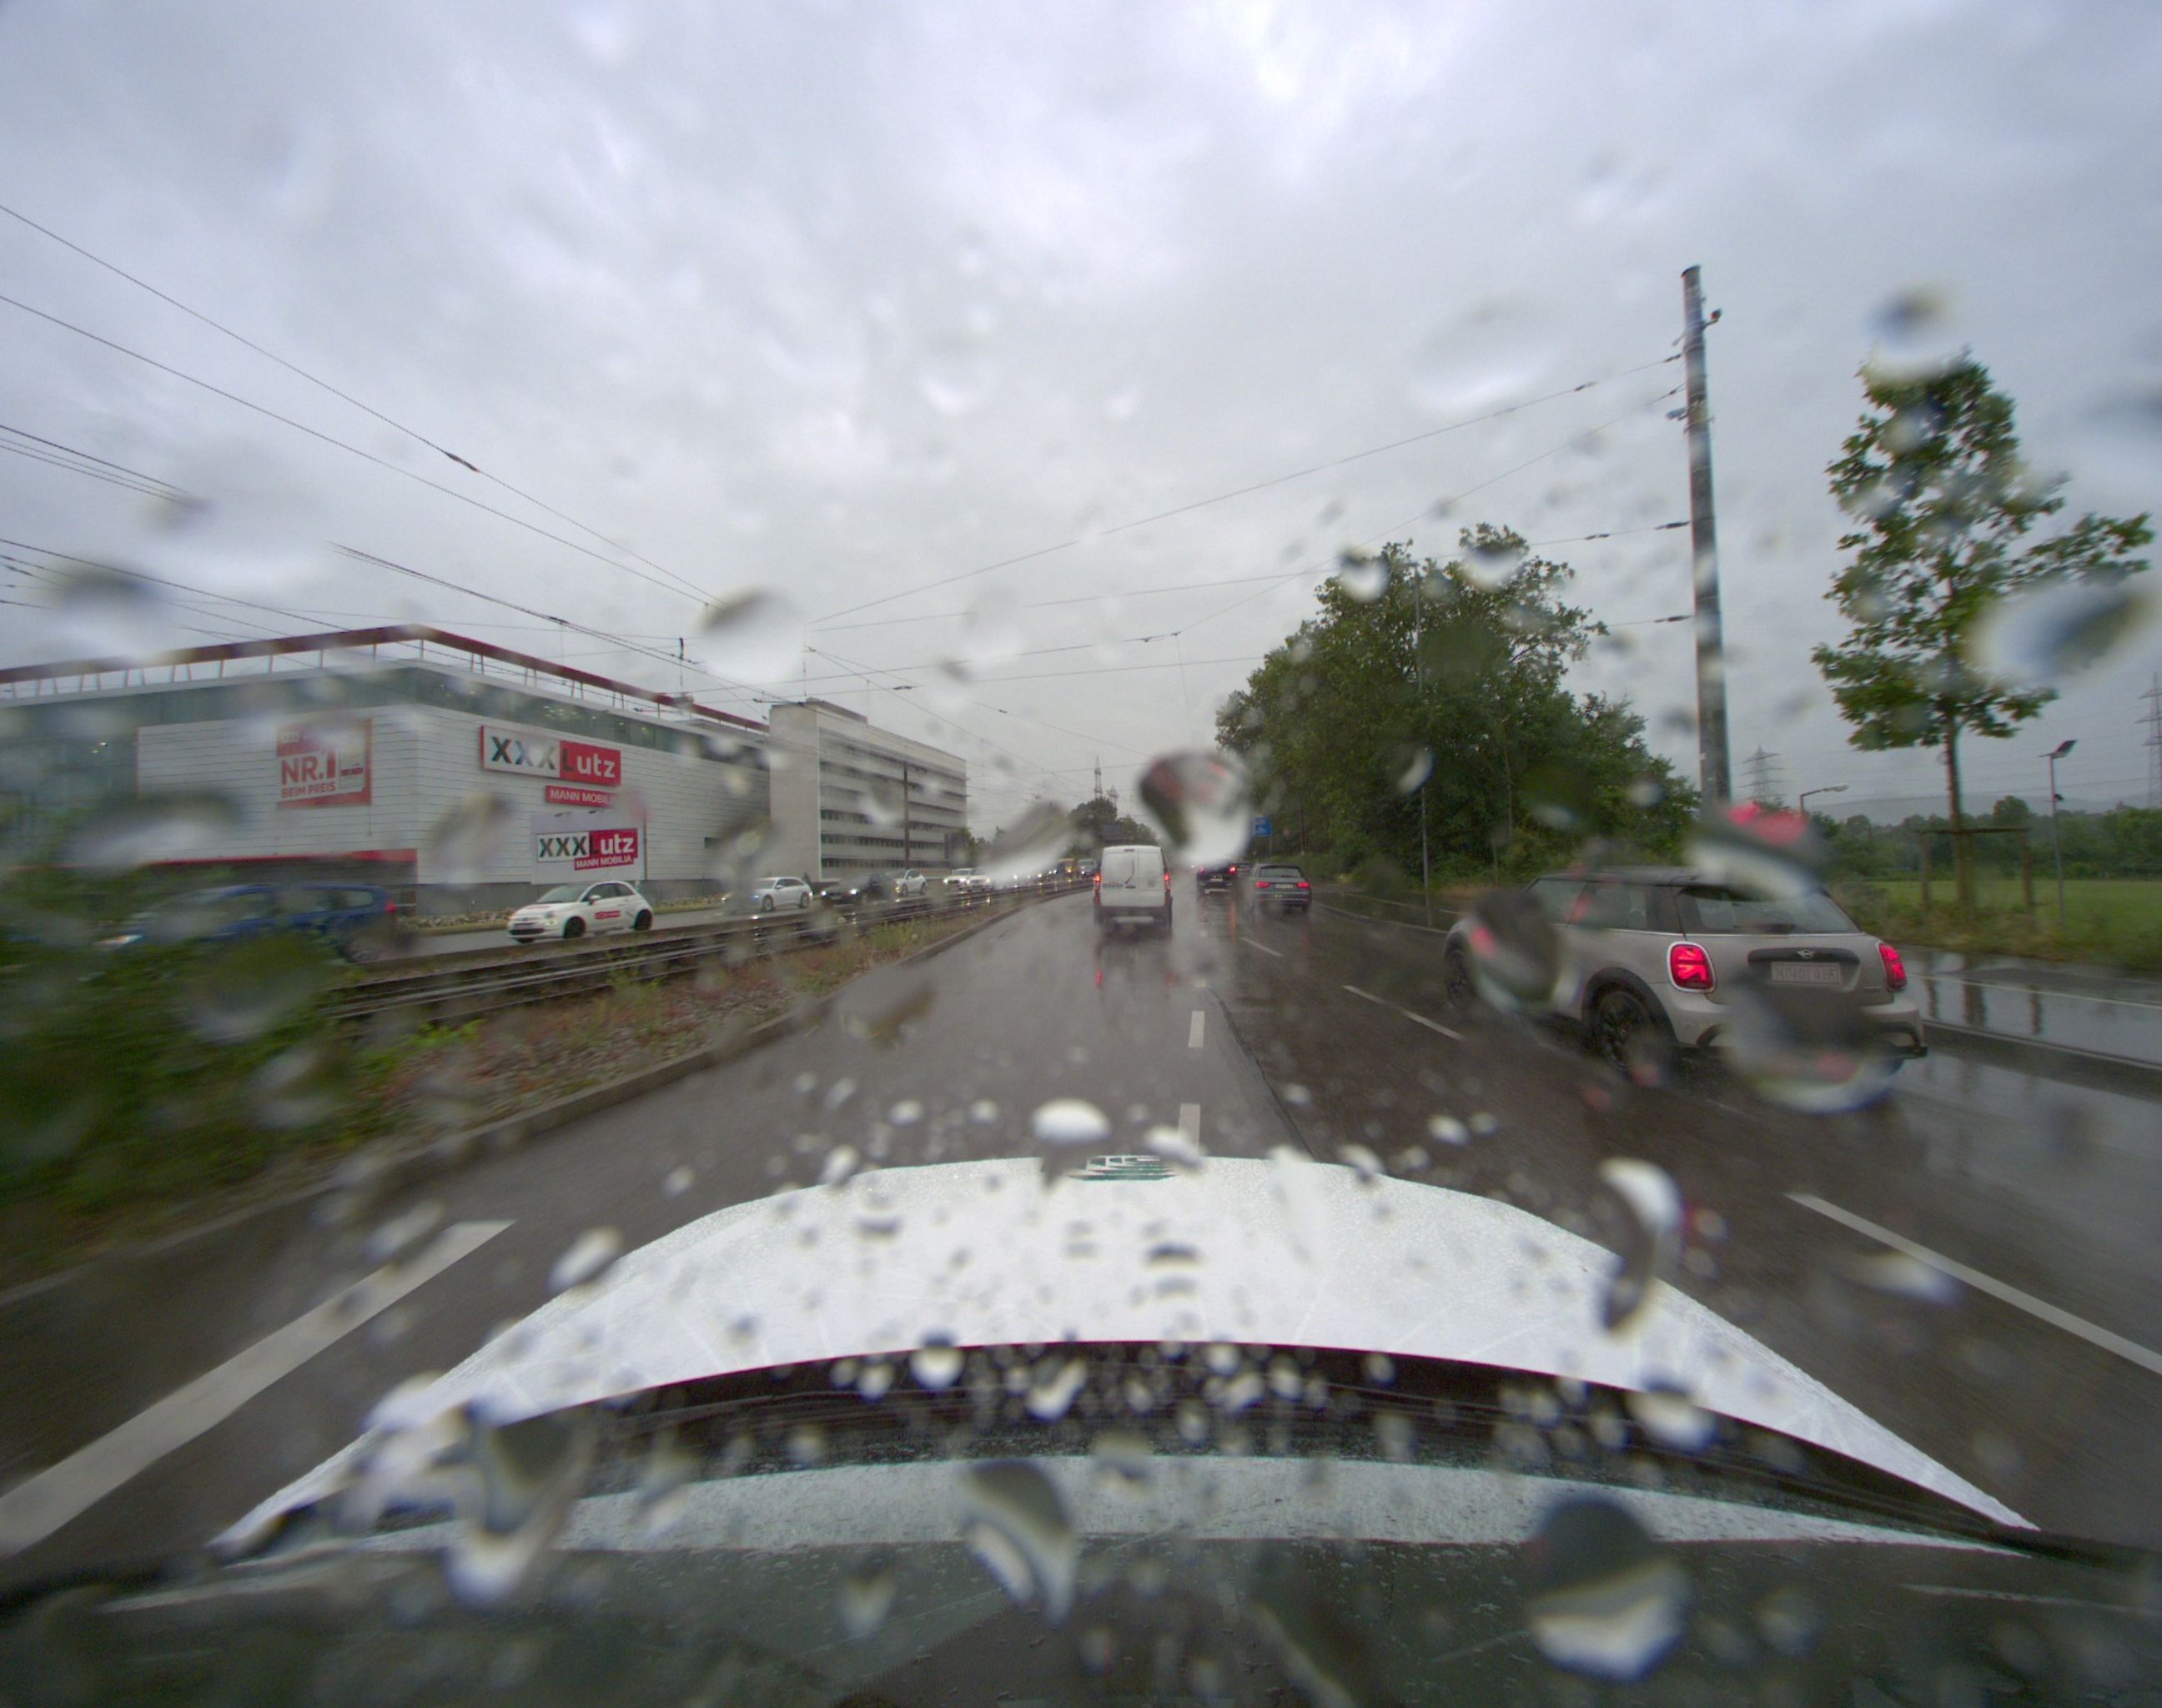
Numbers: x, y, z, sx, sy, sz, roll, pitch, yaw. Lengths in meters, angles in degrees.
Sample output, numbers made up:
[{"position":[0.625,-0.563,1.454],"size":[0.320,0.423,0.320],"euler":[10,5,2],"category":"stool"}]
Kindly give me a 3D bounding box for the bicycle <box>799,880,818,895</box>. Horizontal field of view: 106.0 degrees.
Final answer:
[{"position":[-20.007,2.450,59.851],"size":[0.664,1.016,1.560],"euler":[0,-1,11],"category":"bicycle"}]

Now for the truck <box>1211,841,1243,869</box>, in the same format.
[{"position":[15.359,0.169,85.667],"size":[3.093,2.773,6.347],"euler":[-1,-1,10],"category":"truck"}]

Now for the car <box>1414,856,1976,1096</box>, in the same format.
[{"position":[4.474,0.773,6.816],"size":[1.785,1.414,3.853],"euler":[-1,-1,0],"category":"car"}]

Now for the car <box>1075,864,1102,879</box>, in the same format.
[{"position":[0.834,1.876,89.229],"size":[1.981,1.457,4.686],"euler":[-4,-2,11],"category":"car"}]

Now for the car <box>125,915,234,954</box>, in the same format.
[{"position":[-55.447,4.885,50.183],"size":[1.982,2.014,4.009],"euler":[0,-1,8],"category":"car"}]

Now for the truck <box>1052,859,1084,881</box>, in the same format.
[{"position":[-1.494,1.827,94.508],"size":[2.211,2.462,6.089],"euler":[0,-1,14],"category":"truck"}]

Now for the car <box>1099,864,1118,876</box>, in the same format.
[{"position":[4.025,2.317,118.363],"size":[1.759,1.683,4.706],"euler":[0,-1,13],"category":"car"}]

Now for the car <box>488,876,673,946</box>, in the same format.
[{"position":[-13.045,1.413,21.530],"size":[1.699,1.535,4.065],"euler":[0,0,16],"category":"car"}]

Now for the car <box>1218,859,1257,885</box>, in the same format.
[{"position":[9.157,1.026,48.035],"size":[1.810,1.414,3.782],"euler":[-1,0,4],"category":"car"}]

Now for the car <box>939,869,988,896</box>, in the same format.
[{"position":[-8.569,2.046,59.740],"size":[1.980,1.834,4.708],"euler":[-2,-1,12],"category":"car"}]

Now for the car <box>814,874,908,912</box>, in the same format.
[{"position":[-9.742,1.681,36.478],"size":[1.910,1.423,5.100],"euler":[0,1,12],"category":"car"}]

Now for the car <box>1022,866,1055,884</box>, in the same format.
[{"position":[-4.141,2.024,79.739],"size":[1.845,1.618,4.924],"euler":[-3,-2,13],"category":"car"}]

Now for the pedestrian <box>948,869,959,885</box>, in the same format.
[{"position":[-14.230,2.518,90.763],"size":[0.817,1.763,1.053],"euler":[1,-1,13],"category":"pedestrian"}]

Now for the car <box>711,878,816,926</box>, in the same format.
[{"position":[-13.722,2.015,35.564],"size":[1.981,1.901,4.805],"euler":[0,-1,11],"category":"car"}]

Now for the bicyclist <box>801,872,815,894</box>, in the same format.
[{"position":[-20.031,2.151,59.713],"size":[0.667,1.589,0.794],"euler":[0,-1,11],"category":"bicyclist"}]

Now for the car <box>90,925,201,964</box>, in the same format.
[{"position":[-57.967,5.580,50.578],"size":[1.982,2.014,4.009],"euler":[0,-1,8],"category":"car"}]

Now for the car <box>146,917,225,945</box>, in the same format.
[{"position":[-75.263,6.451,68.500],"size":[1.982,2.014,4.008],"euler":[0,-1,8],"category":"car"}]

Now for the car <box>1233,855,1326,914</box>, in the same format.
[{"position":[5.689,0.821,23.802],"size":[1.959,1.528,3.995],"euler":[-1,0,4],"category":"car"}]

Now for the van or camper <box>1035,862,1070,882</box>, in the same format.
[{"position":[-2.906,1.820,85.404],"size":[2.289,2.014,5.705],"euler":[0,-1,13],"category":"van or camper"}]

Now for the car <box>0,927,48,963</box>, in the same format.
[{"position":[-68.040,5.763,50.737],"size":[1.982,2.014,4.009],"euler":[0,-1,8],"category":"car"}]

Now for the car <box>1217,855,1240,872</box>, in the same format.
[{"position":[12.488,0.782,68.682],"size":[1.806,1.414,3.790],"euler":[-1,0,11],"category":"car"}]

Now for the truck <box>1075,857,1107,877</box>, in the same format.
[{"position":[1.328,1.670,104.919],"size":[2.417,2.458,7.246],"euler":[0,-1,14],"category":"truck"}]

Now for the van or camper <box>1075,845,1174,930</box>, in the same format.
[{"position":[1.143,0.694,19.301],"size":[1.982,1.784,4.010],"euler":[0,0,8],"category":"van or camper"}]

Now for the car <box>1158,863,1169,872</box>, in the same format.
[{"position":[17.317,2.808,169.942],"size":[1.807,1.623,4.549],"euler":[-2,-1,11],"category":"car"}]

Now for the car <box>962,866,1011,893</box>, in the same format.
[{"position":[-6.160,1.642,53.488],"size":[1.860,1.573,4.343],"euler":[0,0,12],"category":"car"}]

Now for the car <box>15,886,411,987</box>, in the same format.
[{"position":[-14.679,1.292,14.233],"size":[1.701,1.249,4.476],"euler":[0,1,12],"category":"car"}]

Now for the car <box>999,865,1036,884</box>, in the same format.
[{"position":[-5.575,1.758,71.723],"size":[1.950,1.516,4.569],"euler":[-4,-2,12],"category":"car"}]

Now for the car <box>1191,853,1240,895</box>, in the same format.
[{"position":[5.958,0.847,36.627],"size":[1.890,1.717,4.733],"euler":[-1,0,6],"category":"car"}]

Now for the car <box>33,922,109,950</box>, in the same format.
[{"position":[-86.106,6.987,69.463],"size":[1.974,2.014,4.025],"euler":[-1,-1,38],"category":"car"}]

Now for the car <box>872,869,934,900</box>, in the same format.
[{"position":[-10.595,1.768,48.909],"size":[1.896,1.606,4.856],"euler":[1,0,10],"category":"car"}]
